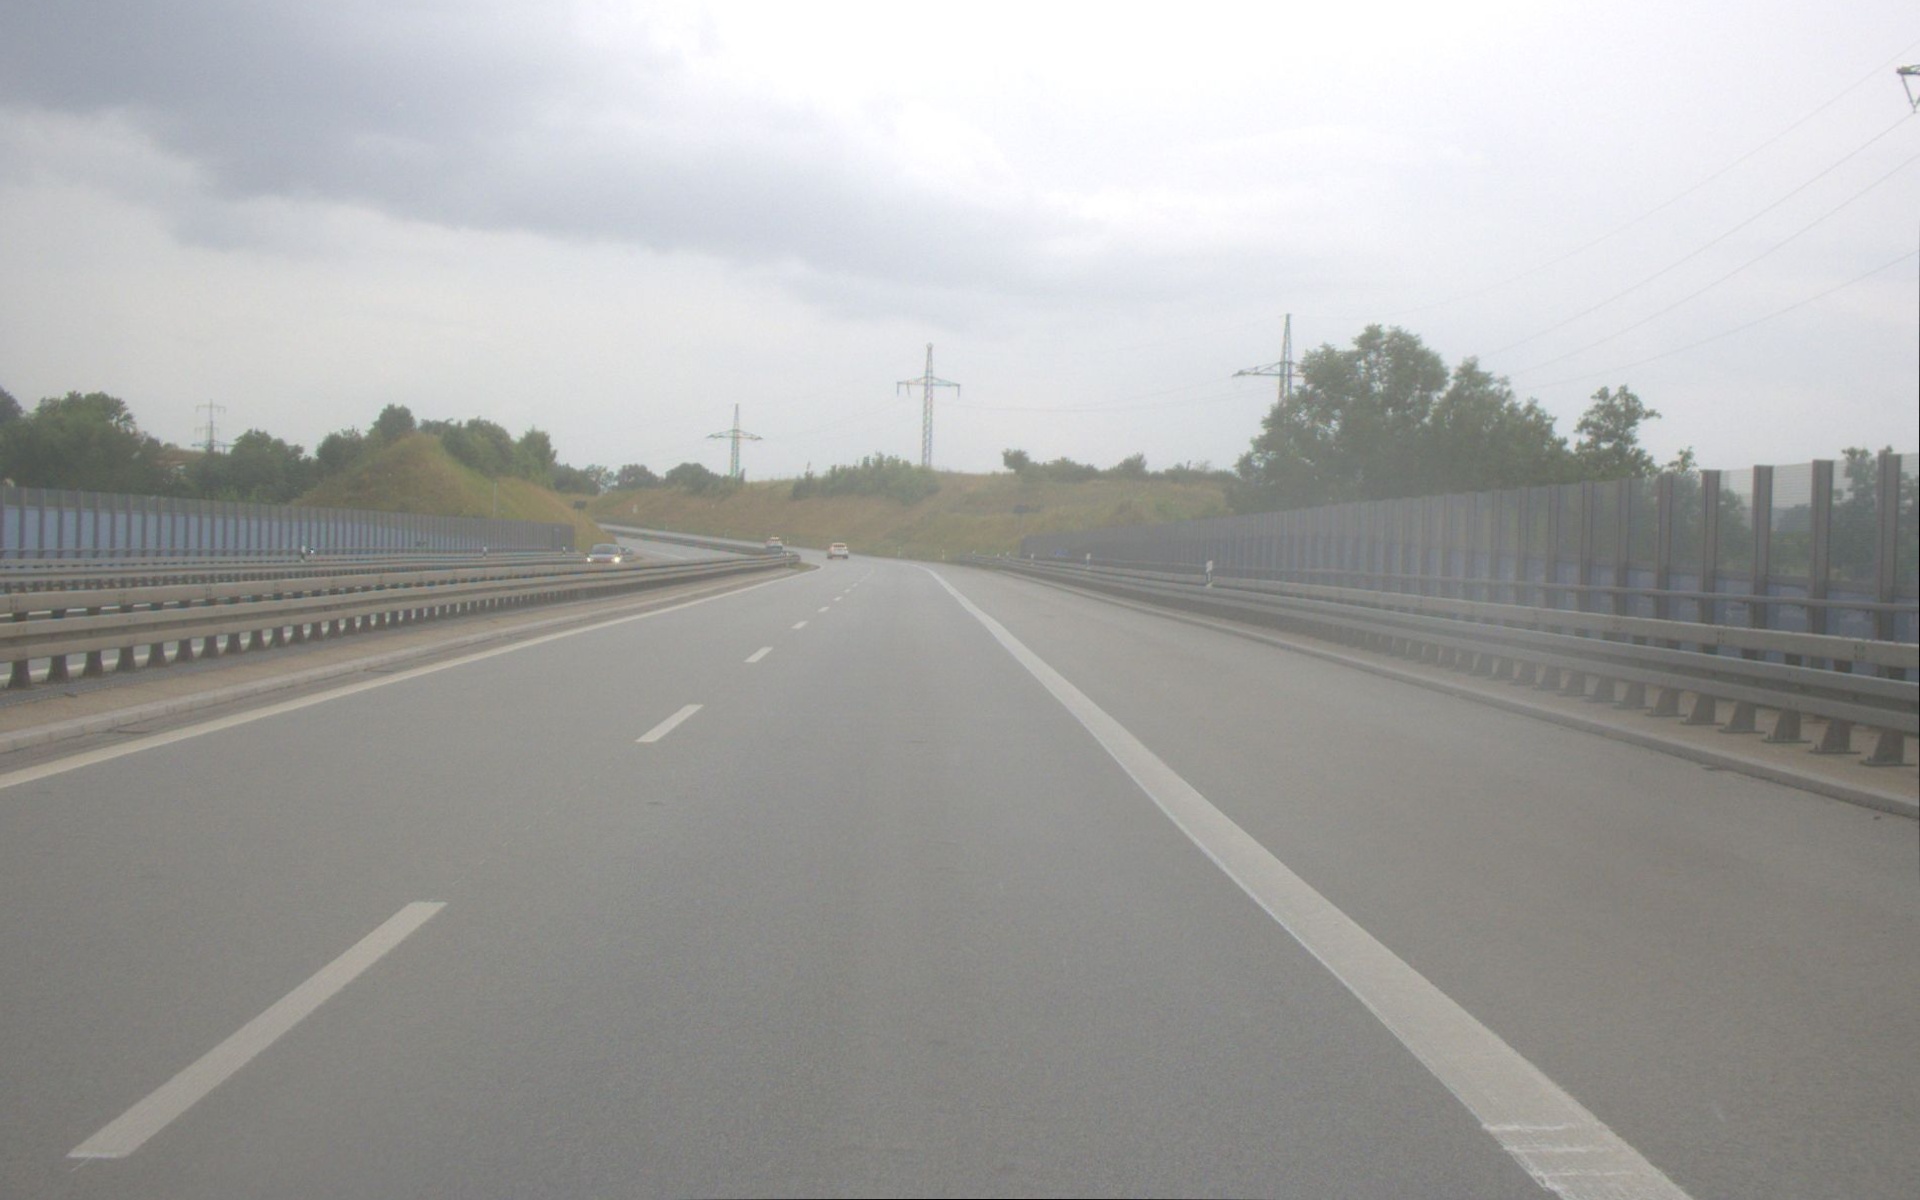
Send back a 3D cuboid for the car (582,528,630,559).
[{"bbox_3d":[-17.484,-2.806,169.870,1.993,1.510,4.288,1,1,-1],"label":"car"}]
